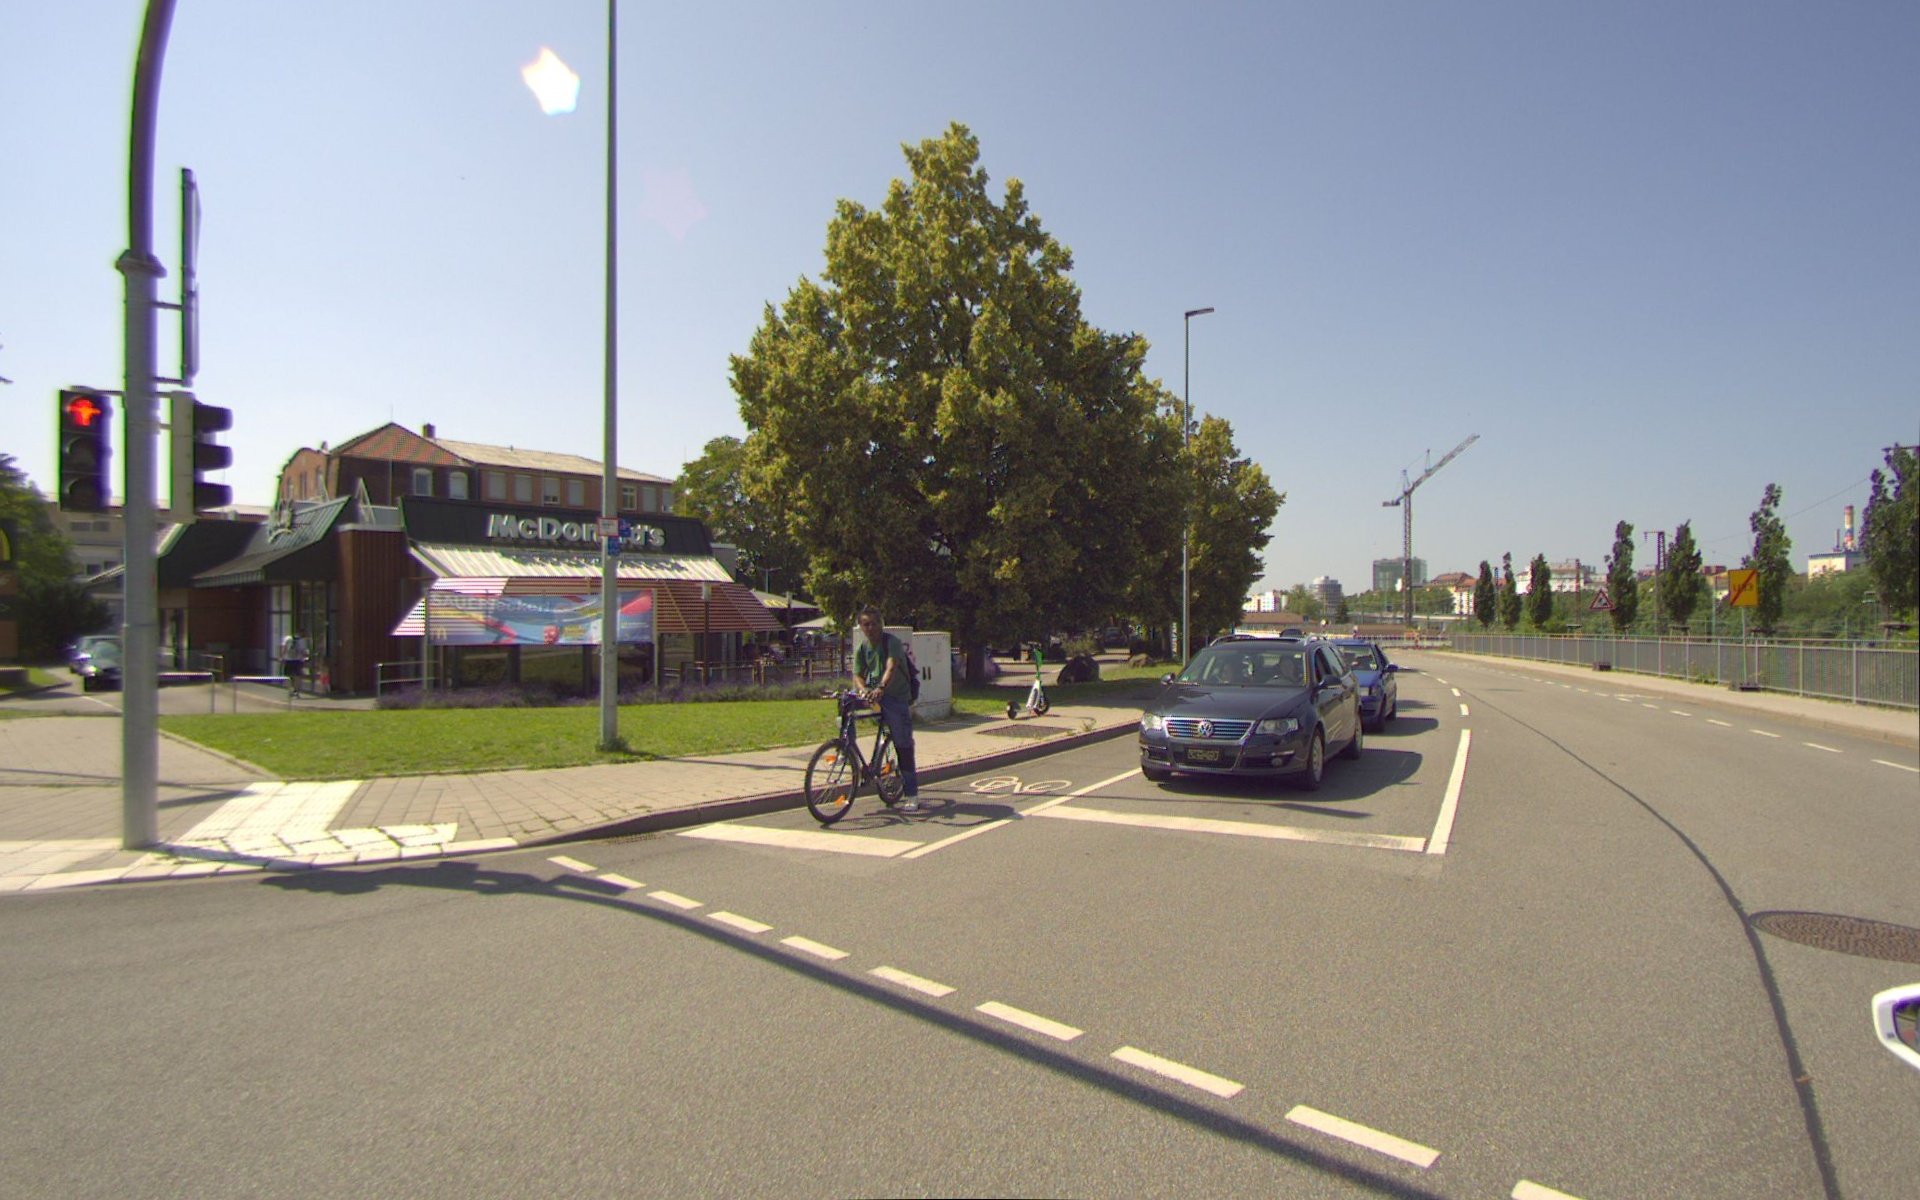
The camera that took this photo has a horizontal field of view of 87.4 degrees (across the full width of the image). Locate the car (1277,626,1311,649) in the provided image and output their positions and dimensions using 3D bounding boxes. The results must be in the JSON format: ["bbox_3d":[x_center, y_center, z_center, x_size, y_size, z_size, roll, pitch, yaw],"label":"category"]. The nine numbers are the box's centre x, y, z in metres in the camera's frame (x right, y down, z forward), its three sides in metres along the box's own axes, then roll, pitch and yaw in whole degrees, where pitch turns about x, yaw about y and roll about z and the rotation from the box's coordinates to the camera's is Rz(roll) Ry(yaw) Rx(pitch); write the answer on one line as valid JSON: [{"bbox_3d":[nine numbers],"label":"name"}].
[{"bbox_3d":[26.684,2.969,80.345,1.917,1.717,4.616,0,-1,10],"label":"car"}]

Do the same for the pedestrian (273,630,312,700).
[{"bbox_3d":[-17.534,1.686,26.373,0.879,1.781,0.635,-1,-1,40],"label":"pedestrian"}]

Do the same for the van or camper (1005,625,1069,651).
[{"bbox_3d":[5.214,2.569,68.333,4.200,1.763,2.000,0,-1,0],"label":"van or camper"}]

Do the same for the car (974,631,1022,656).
[{"bbox_3d":[2.048,2.351,55.097,1.581,1.303,3.989,0,-1,-14],"label":"car"}]

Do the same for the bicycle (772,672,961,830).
[{"bbox_3d":[-0.749,1.215,8.591,0.687,1.119,1.751,-2,-2,32],"label":"bicycle"}]

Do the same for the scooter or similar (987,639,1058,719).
[{"bbox_3d":[1.016,1.238,16.077,0.465,1.200,1.360,-1,-1,37],"label":"scooter or similar"}]

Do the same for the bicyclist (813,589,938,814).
[{"bbox_3d":[-0.719,0.838,8.636,0.700,1.812,0.807,-2,-2,33],"label":"bicyclist"}]

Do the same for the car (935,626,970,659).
[{"bbox_3d":[-0.465,2.356,56.802,1.685,1.758,4.246,0,-1,-5],"label":"car"}]

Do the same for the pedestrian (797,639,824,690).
[{"bbox_3d":[-6.078,2.600,40.929,0.819,2.040,0.753,-1,-1,22],"label":"pedestrian"}]

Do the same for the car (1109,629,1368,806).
[{"bbox_3d":[3.361,1.109,11.361,1.753,1.516,4.714,-1,-1,29],"label":"car"}]

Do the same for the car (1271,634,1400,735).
[{"bbox_3d":[6.319,1.294,16.662,1.630,1.399,3.996,-1,-1,26],"label":"car"}]

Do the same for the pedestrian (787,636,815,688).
[{"bbox_3d":[-6.322,2.469,40.016,0.819,2.040,0.753,-1,-1,22],"label":"pedestrian"}]

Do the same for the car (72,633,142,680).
[{"bbox_3d":[-31.257,2.018,36.781,1.851,1.572,4.138,1,-2,-41],"label":"car"}]

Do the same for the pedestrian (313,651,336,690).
[{"bbox_3d":[-16.917,1.862,26.736,0.503,1.010,0.379,-1,-1,40],"label":"pedestrian"}]

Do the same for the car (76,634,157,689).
[{"bbox_3d":[-26.838,1.891,31.996,1.851,1.572,4.140,1,-2,-40],"label":"car"}]
